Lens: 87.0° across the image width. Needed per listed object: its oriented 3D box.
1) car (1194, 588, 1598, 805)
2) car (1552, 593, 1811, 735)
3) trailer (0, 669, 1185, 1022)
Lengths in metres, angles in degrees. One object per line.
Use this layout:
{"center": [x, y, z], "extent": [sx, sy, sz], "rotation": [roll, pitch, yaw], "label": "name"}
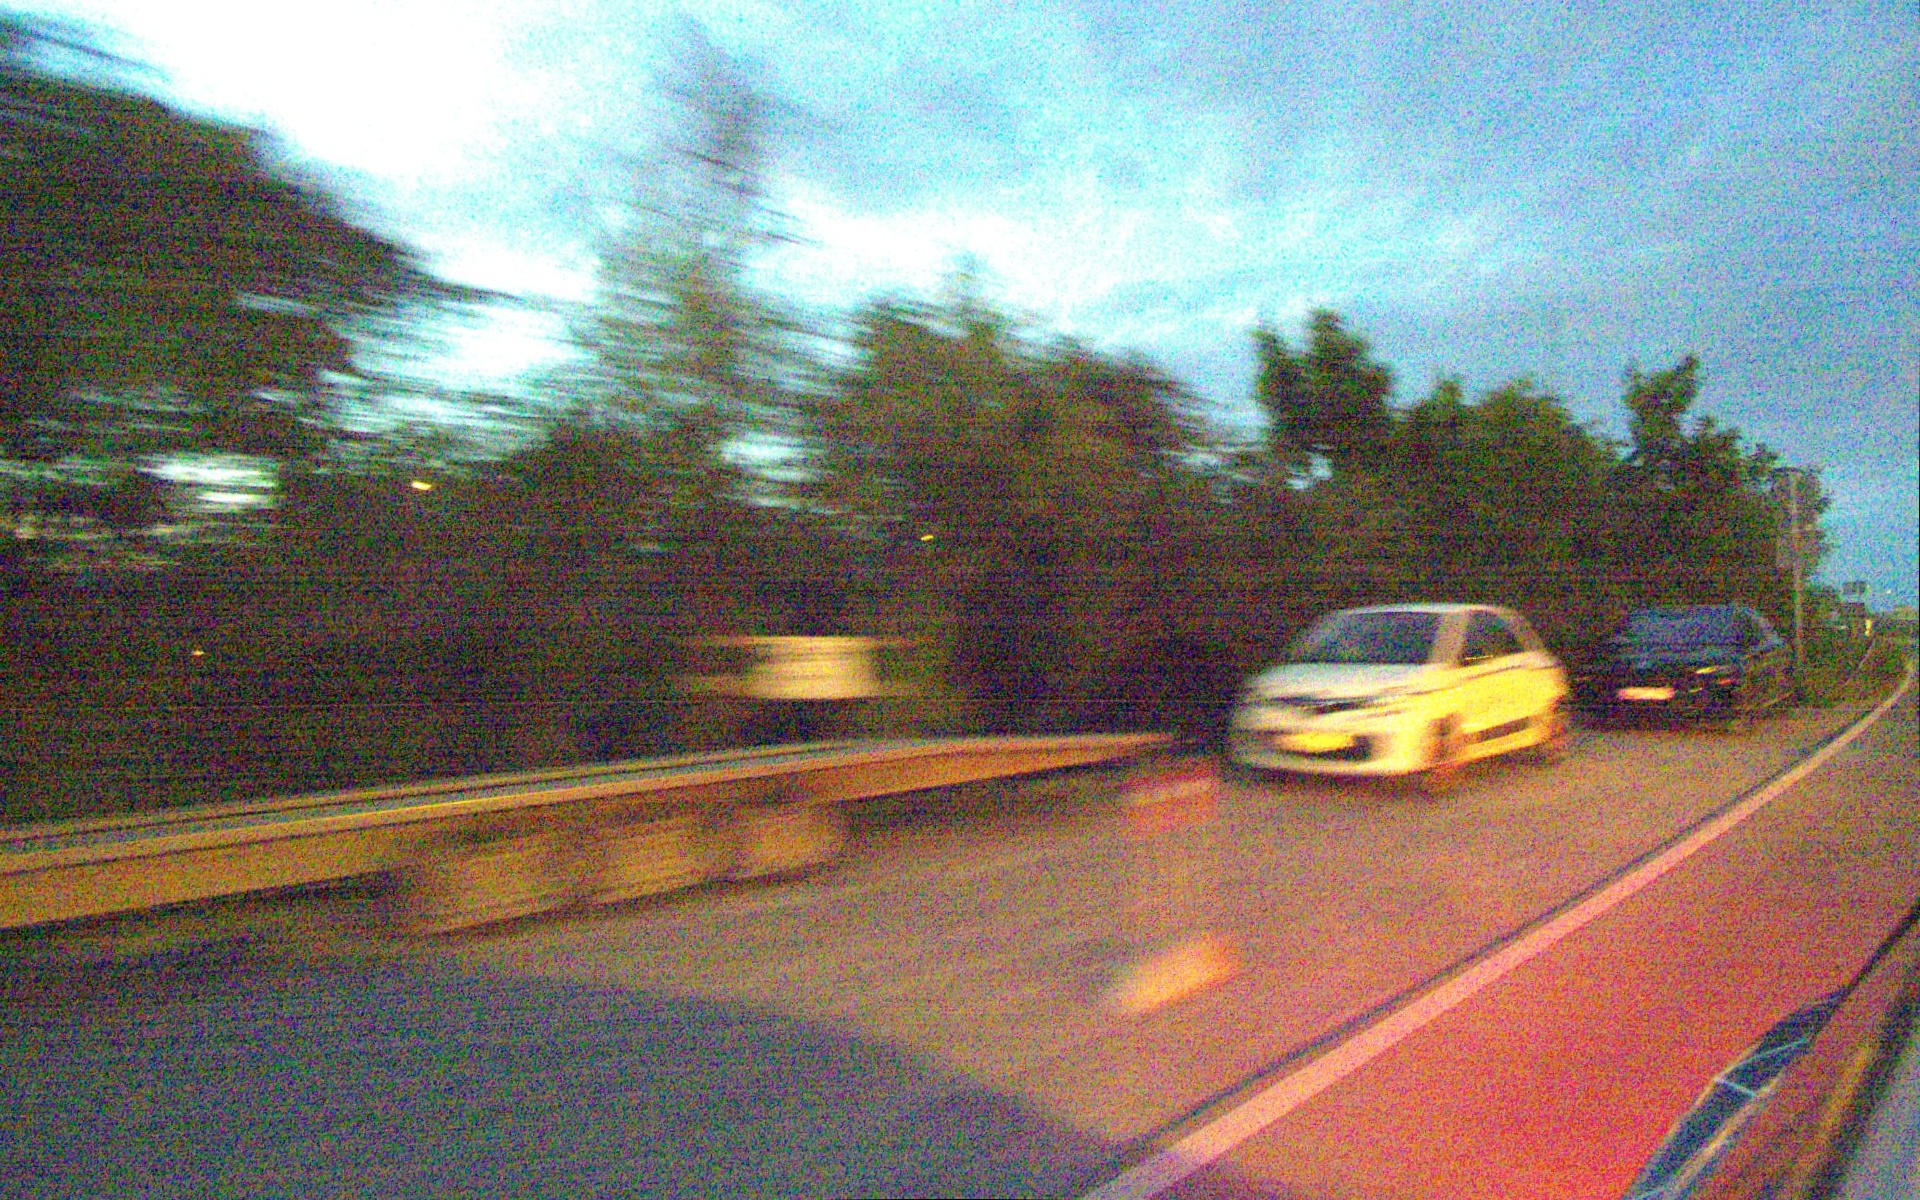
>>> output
{"center": [4.148, 0.731, 9.380], "extent": [3.930, 1.572, 1.937], "rotation": [0, -2, -41], "label": "car"}
{"center": [9.661, 0.762, 13.426], "extent": [4.253, 1.572, 1.995], "rotation": [1, -3, -44], "label": "car"}
{"center": [-2.699, 1.044, 5.466], "extent": [9.440, 0.979, 2.178], "rotation": [0, -3, -38], "label": "trailer"}
